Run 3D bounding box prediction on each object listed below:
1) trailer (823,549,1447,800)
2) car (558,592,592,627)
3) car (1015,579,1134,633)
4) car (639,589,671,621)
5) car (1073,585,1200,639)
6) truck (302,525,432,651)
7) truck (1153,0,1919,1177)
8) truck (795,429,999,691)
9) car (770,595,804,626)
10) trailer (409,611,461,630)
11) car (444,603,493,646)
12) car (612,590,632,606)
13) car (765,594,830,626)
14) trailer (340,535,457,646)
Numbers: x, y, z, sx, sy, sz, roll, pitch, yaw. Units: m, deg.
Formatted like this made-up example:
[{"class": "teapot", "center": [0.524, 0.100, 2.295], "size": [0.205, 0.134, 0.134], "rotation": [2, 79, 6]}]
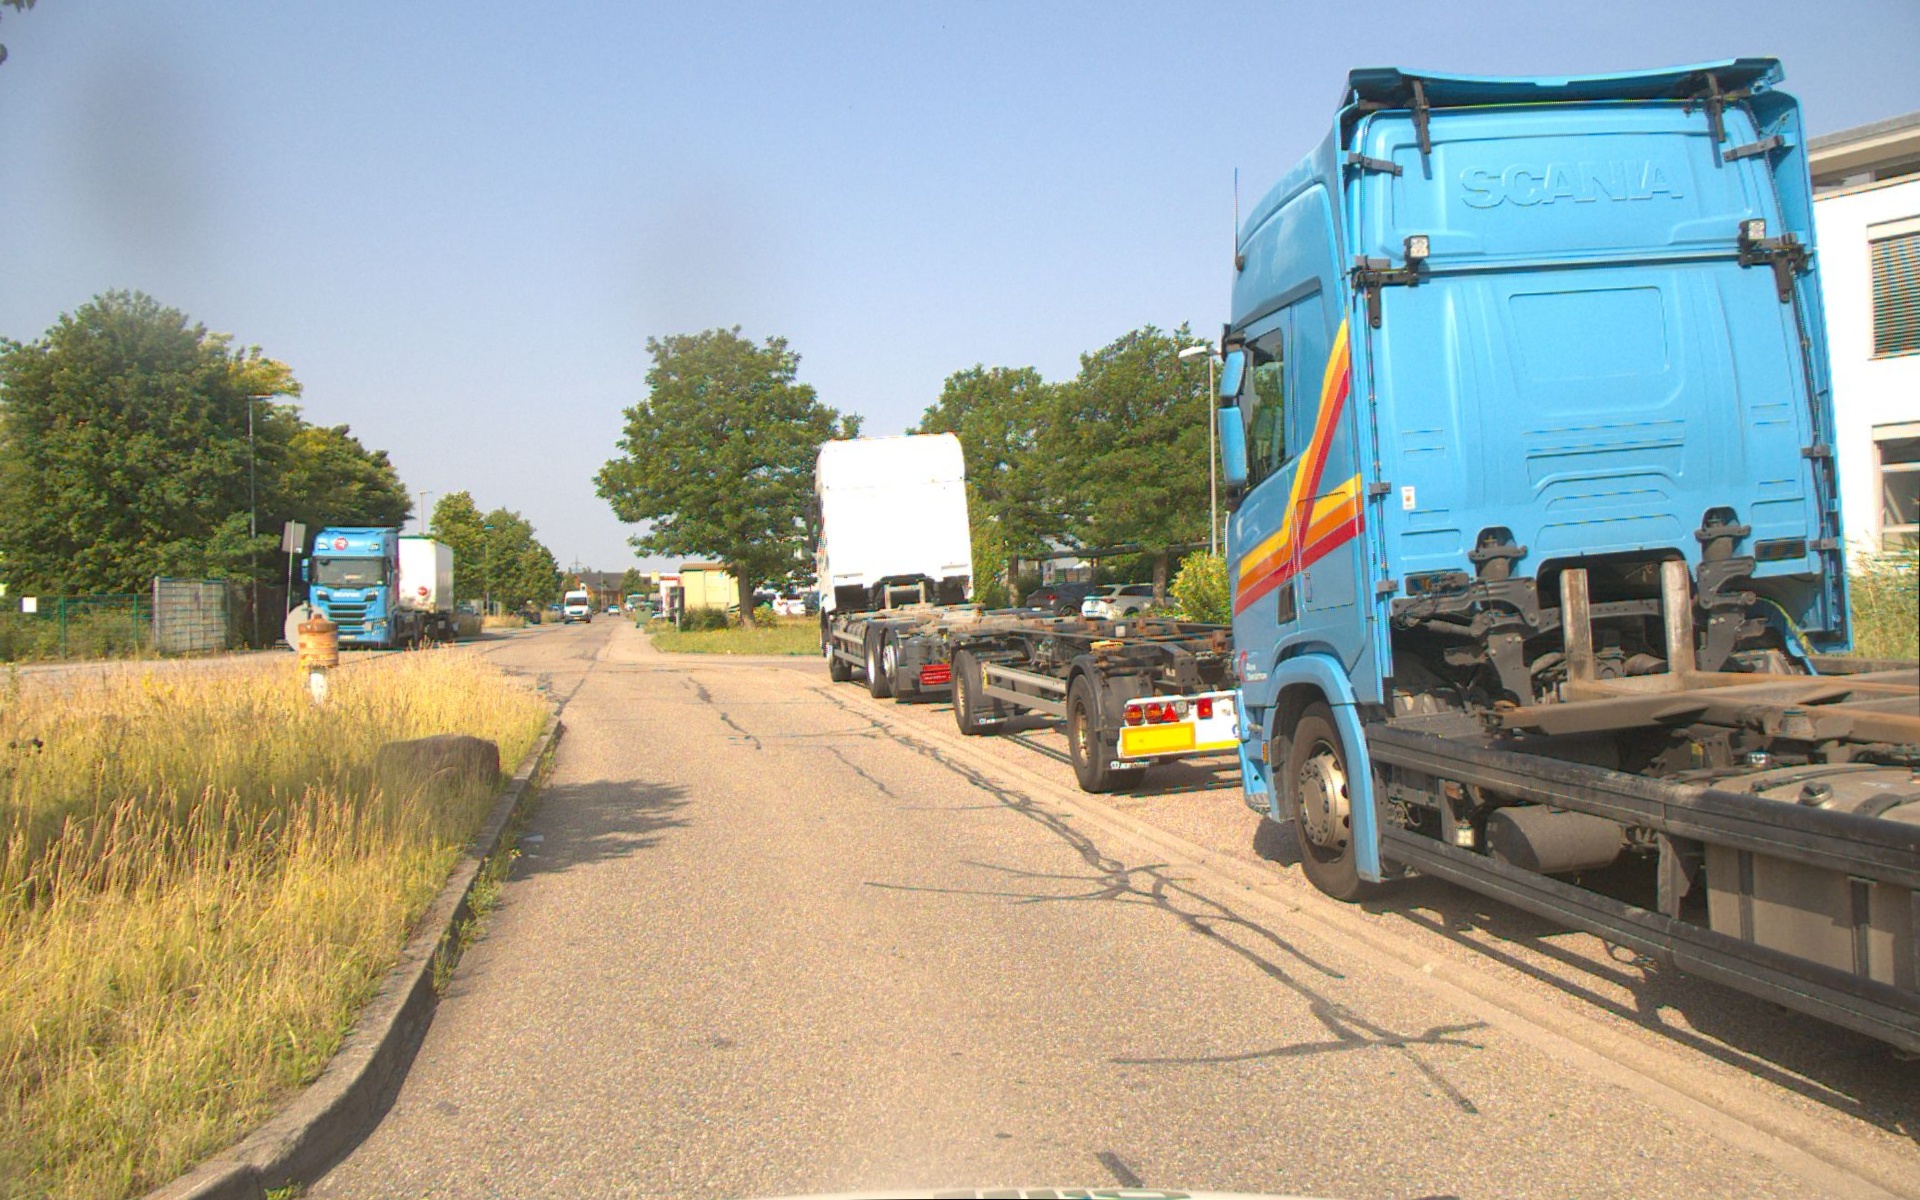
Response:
[{"class": "trailer", "center": [0.650, 0.553, 19.731], "size": [2.697, 1.601, 16.126], "rotation": [-4, 0, -11]}, {"class": "car", "center": [-31.018, 0.807, 133.057], "size": [2.180, 2.733, 6.818], "rotation": [1, -1, -18]}, {"class": "car", "center": [3.991, 0.233, 57.431], "size": [3.967, 1.798, 1.969], "rotation": [2, -2, -43]}, {"class": "car", "center": [-18.079, 0.322, 97.954], "size": [1.761, 1.781, 3.987], "rotation": [1, -1, -12]}, {"class": "car", "center": [5.865, 0.428, 54.762], "size": [4.036, 1.731, 1.745], "rotation": [1, -2, -33]}, {"class": "truck", "center": [-19.942, -0.263, 56.176], "size": [2.775, 3.893, 9.643], "rotation": [1, -1, -12]}, {"class": "truck", "center": [3.552, -0.438, 5.179], "size": [2.837, 3.596, 9.728], "rotation": [-5, 0, -11]}, {"class": "truck", "center": [-1.187, -0.664, 28.587], "size": [2.698, 4.050, 3.989], "rotation": [-4, 0, -11]}, {"class": "car", "center": [-9.537, 0.586, 91.007], "size": [1.685, 1.646, 3.992], "rotation": [1, -1, -8]}, {"class": "trailer", "center": [-23.384, 0.892, 73.779], "size": [1.863, 0.774, 3.987], "rotation": [-1, 0, -12]}, {"class": "car", "center": [-24.298, 1.207, 81.695], "size": [1.965, 2.049, 3.974], "rotation": [-1, 0, -21]}, {"class": "car", "center": [-39.996, -0.230, 195.761], "size": [1.745, 1.847, 3.974], "rotation": [1, -2, -21]}, {"class": "car", "center": [-7.219, 0.457, 73.161], "size": [1.649, 1.353, 3.630], "rotation": [1, -2, -28]}, {"class": "trailer", "center": [-21.608, -0.191, 64.321], "size": [2.781, 3.910, 11.999], "rotation": [1, -1, -12]}]
